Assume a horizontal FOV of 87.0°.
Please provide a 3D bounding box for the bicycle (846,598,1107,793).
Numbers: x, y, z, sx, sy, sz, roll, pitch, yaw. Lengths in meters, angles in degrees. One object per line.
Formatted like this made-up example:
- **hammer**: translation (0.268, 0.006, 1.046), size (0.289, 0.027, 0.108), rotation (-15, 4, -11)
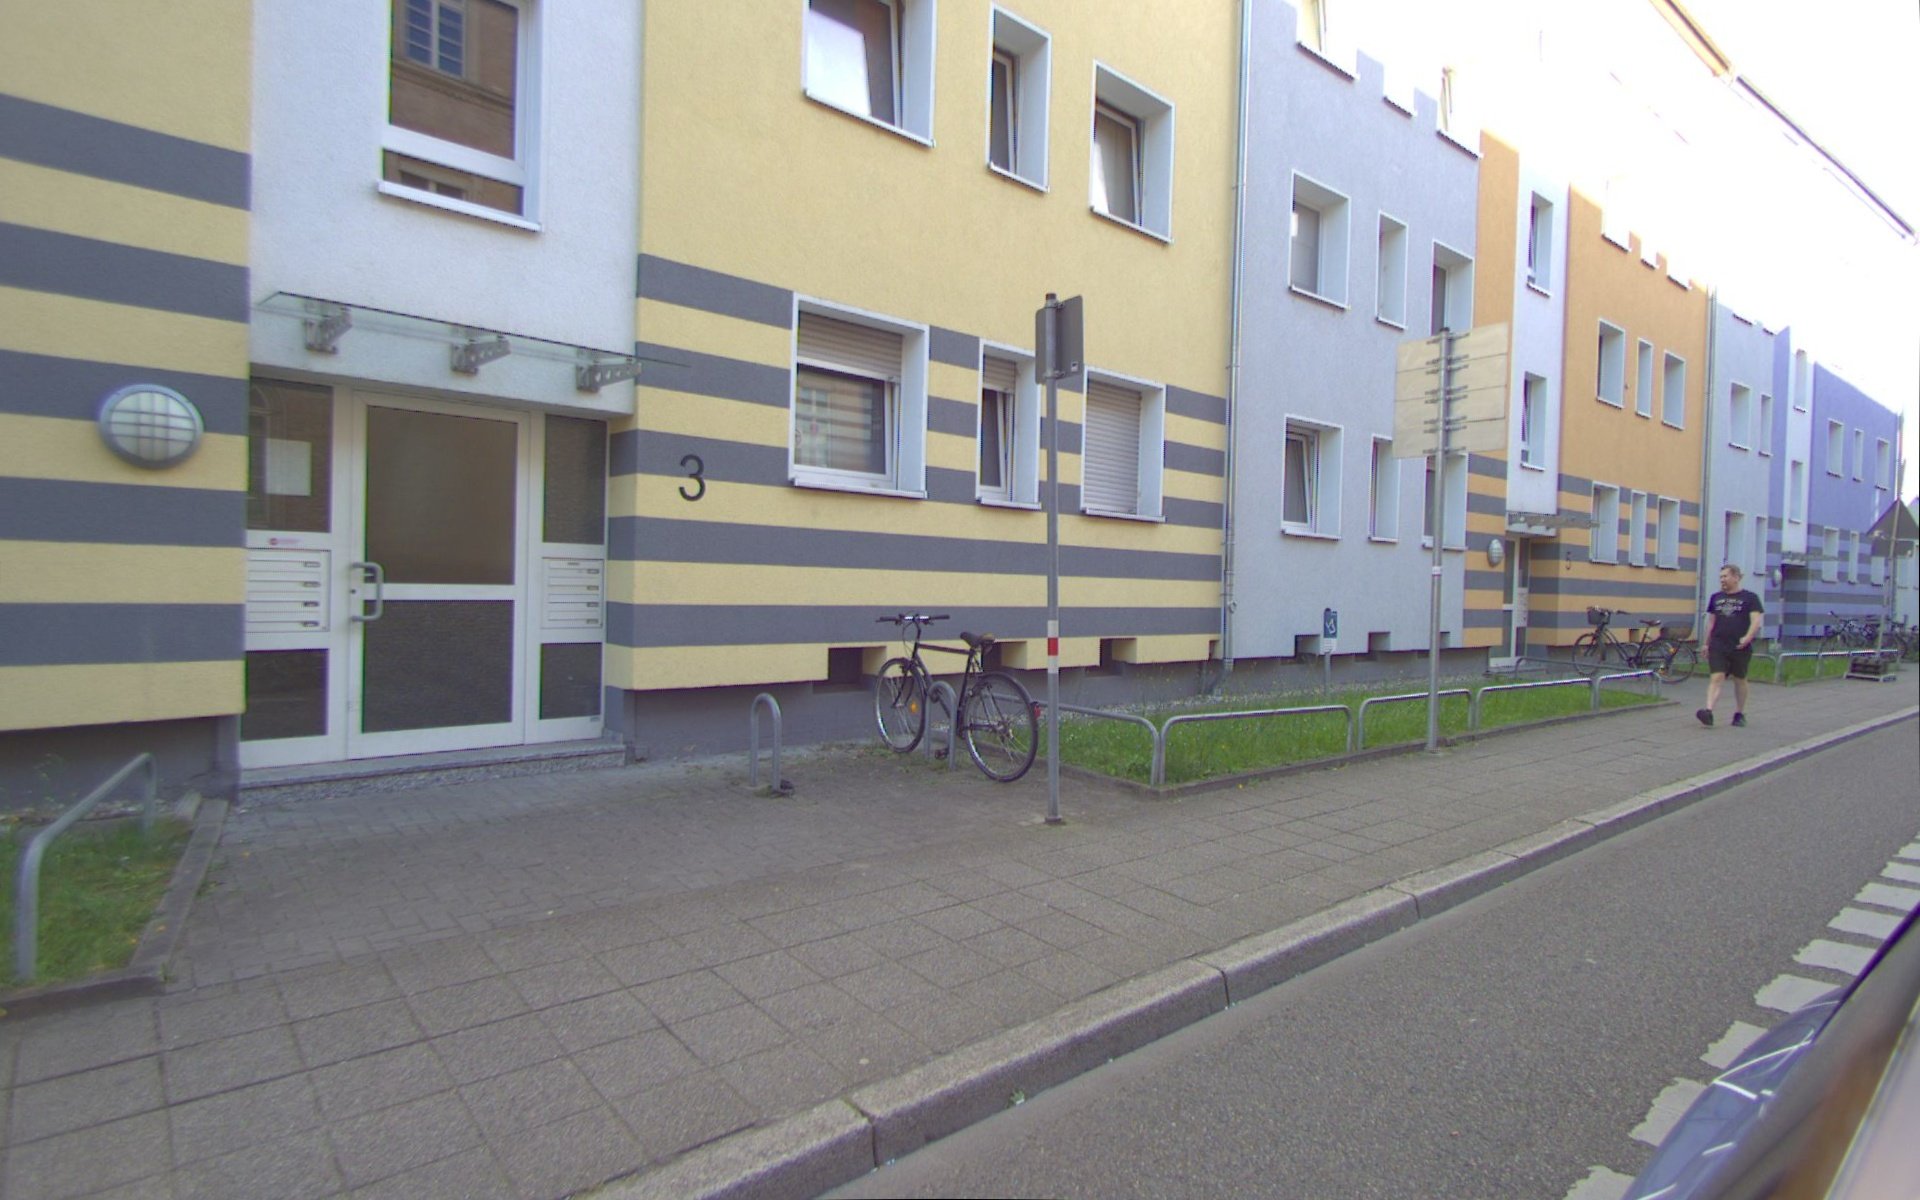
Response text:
- **bicycle**: translation (0.051, 0.580, 7.044), size (0.625, 1.074, 1.946), rotation (1, 3, -42)

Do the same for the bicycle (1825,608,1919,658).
- **bicycle**: translation (22.286, 0.783, 24.667), size (0.624, 1.058, 1.711), rotation (1, 2, -39)

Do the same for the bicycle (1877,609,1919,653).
- **bicycle**: translation (24.175, 0.803, 25.336), size (0.625, 1.048, 1.709), rotation (1, 3, -42)

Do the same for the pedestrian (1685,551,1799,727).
- **pedestrian**: translation (8.581, 0.404, 11.103), size (0.898, 1.810, 0.646), rotation (1, 4, -38)

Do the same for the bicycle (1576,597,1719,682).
- **bicycle**: translation (10.746, 0.581, 15.863), size (0.625, 1.173, 1.709), rotation (1, 3, -42)

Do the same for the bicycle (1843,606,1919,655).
- **bicycle**: translation (23.255, 0.755, 25.262), size (0.625, 1.095, 1.711), rotation (1, 2, -40)
